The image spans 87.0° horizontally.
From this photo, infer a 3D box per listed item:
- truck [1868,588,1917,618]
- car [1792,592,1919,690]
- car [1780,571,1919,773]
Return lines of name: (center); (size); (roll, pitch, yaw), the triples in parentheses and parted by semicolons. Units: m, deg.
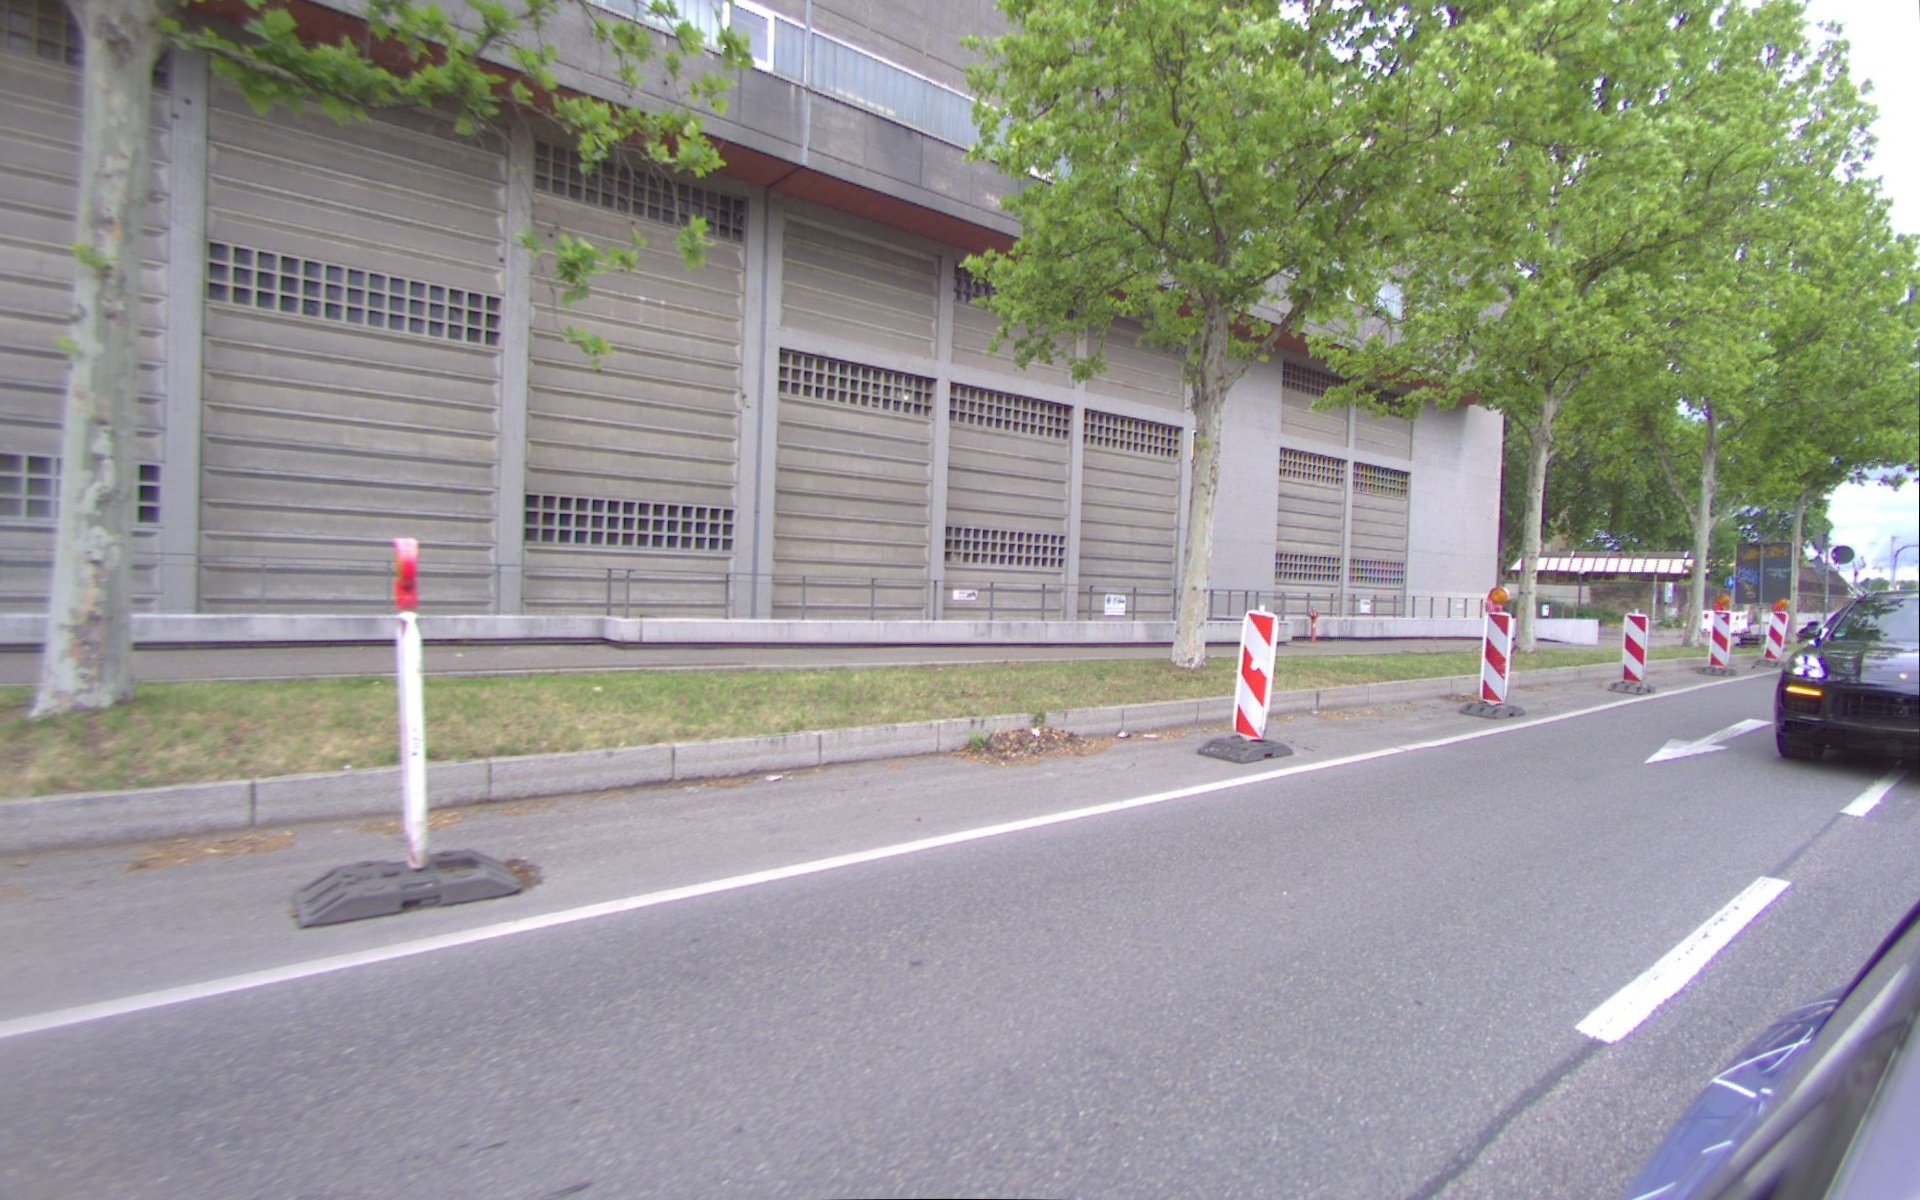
truck: (120.902, 0.358, 131.355); (2.889, 3.720, 8.923); (3, 1, 32)
car: (16.731, 0.658, 18.204); (4.301, 1.452, 1.740); (0, 4, -38)
car: (9.786, 0.610, 9.889); (4.527, 1.668, 1.955); (0, 2, -41)
